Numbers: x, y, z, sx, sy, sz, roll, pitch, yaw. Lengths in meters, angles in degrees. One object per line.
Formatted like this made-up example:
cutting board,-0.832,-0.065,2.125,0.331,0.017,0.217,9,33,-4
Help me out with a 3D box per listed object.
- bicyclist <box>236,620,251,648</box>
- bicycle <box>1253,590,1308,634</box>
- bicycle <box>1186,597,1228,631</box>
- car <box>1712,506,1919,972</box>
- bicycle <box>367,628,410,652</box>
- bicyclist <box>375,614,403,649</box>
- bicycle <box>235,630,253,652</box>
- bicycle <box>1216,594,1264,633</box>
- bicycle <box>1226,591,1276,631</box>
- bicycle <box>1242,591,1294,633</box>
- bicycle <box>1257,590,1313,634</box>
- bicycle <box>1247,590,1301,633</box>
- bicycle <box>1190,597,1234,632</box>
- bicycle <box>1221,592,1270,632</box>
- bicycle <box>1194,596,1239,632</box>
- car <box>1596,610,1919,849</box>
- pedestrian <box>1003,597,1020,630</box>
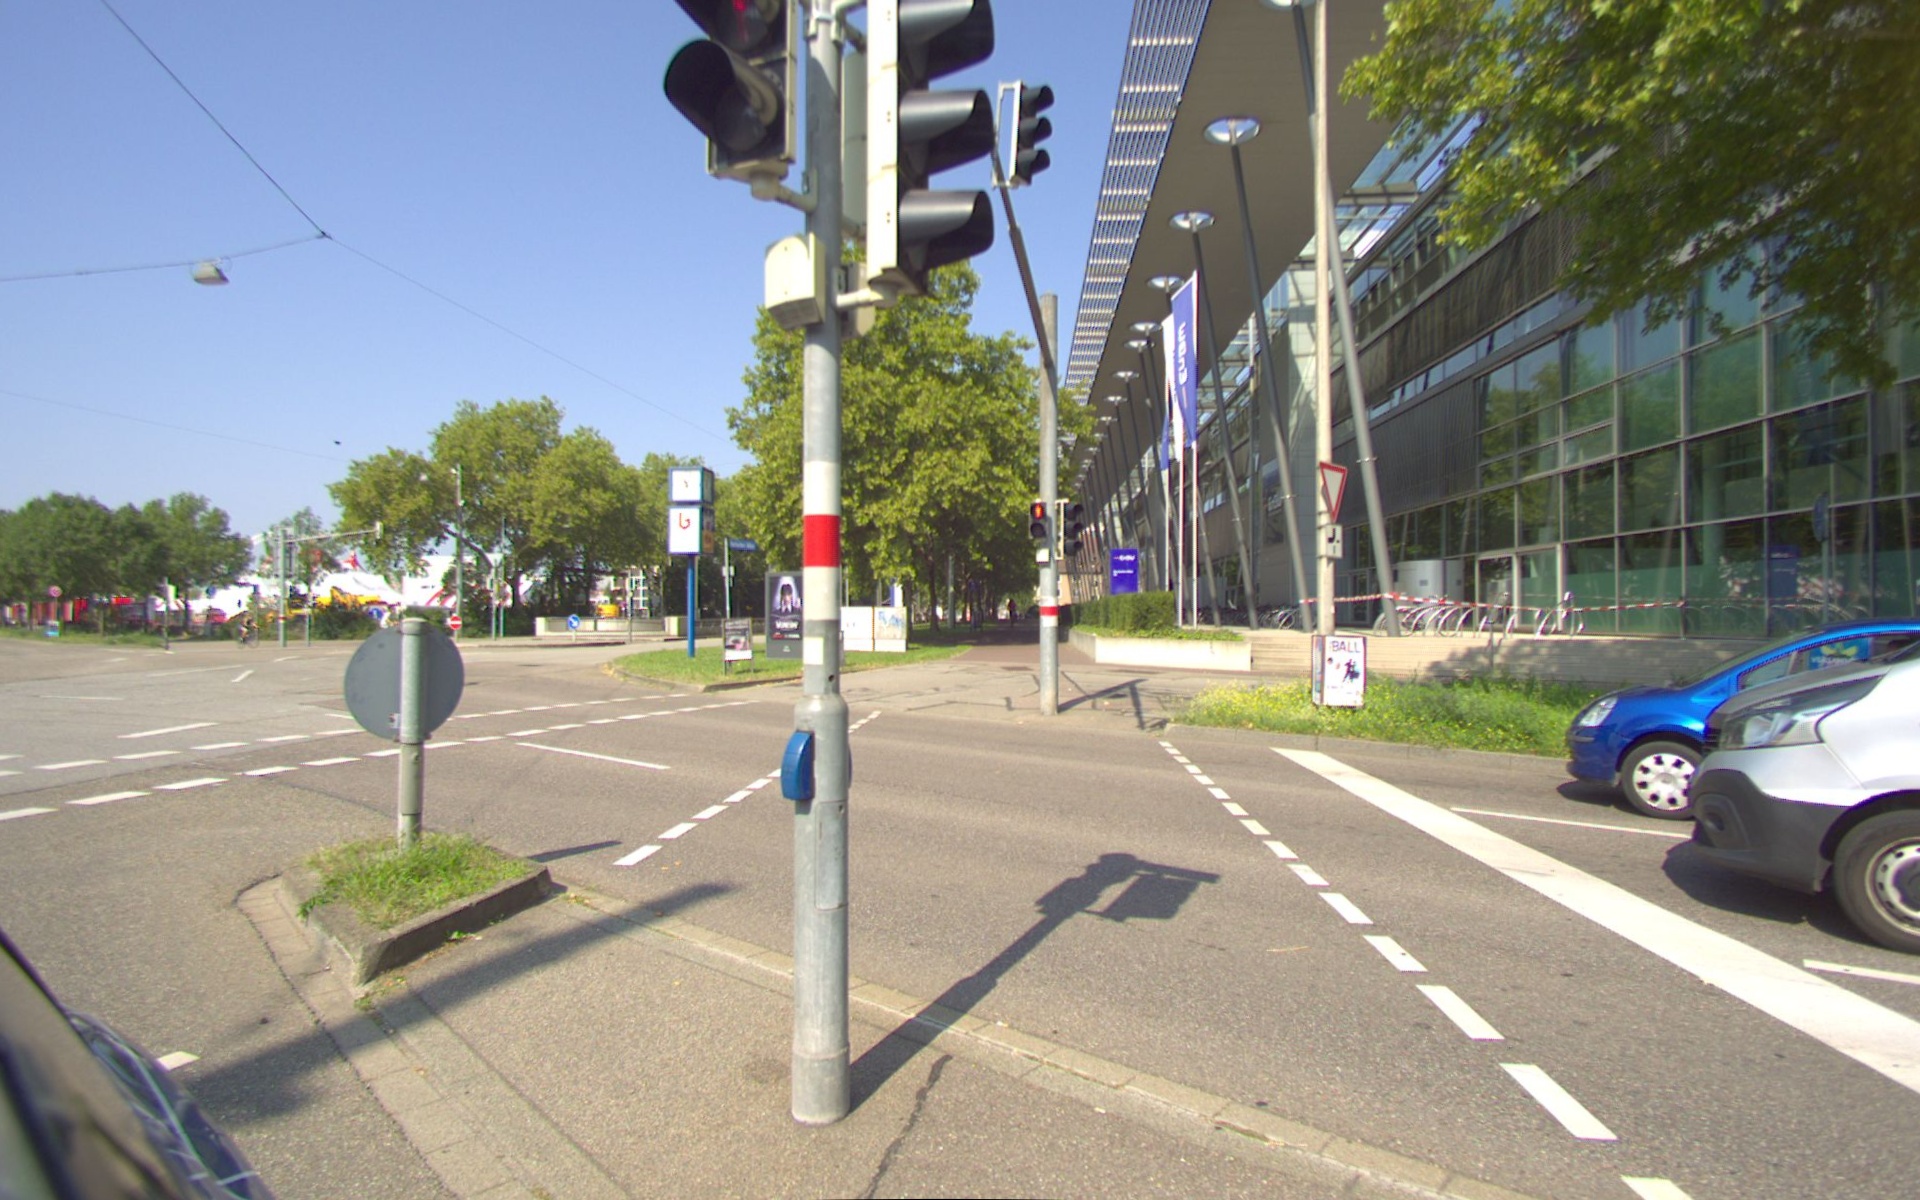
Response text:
bicyclist,-35.635,1.699,50.319,0.494,1.375,0.699,-2,-1,-28
bicycle,15.764,0.613,49.788,2.388,2.029,0.689,-3,-1,4
bicycle,15.471,0.888,63.495,2.388,2.029,0.689,-3,-1,4
car,6.152,0.559,3.860,5.205,1.973,1.909,-2,-2,38
bicycle,-27.414,1.901,48.560,2.210,1.096,0.765,-2,-2,29
bicyclist,-27.411,1.499,48.550,1.199,1.606,0.592,-3,-1,28
bicycle,-35.606,2.050,50.324,0.563,1.064,1.498,-2,-2,-30
bicycle,15.559,0.764,56.338,2.388,2.029,0.689,-3,-1,4
bicycle,15.474,0.589,53.881,2.388,2.029,0.689,-3,-1,4
bicycle,15.865,0.618,52.151,2.388,2.029,0.689,-3,-1,4
bicycle,15.717,0.586,48.987,2.388,2.029,0.689,-3,-1,4
bicycle,15.775,0.585,50.914,2.388,2.029,0.689,-3,-1,4
bicycle,15.333,0.896,61.559,2.388,2.029,0.689,-3,-1,4
bicycle,15.532,0.664,55.142,2.388,2.029,0.689,-3,-1,4
bicycle,15.248,0.817,60.209,2.388,2.029,0.689,-3,-1,4
car,6.918,0.908,7.318,3.728,1.547,1.650,1,-2,41
pedestrian,3.239,0.832,63.775,0.937,2.029,1.346,-3,-1,5
